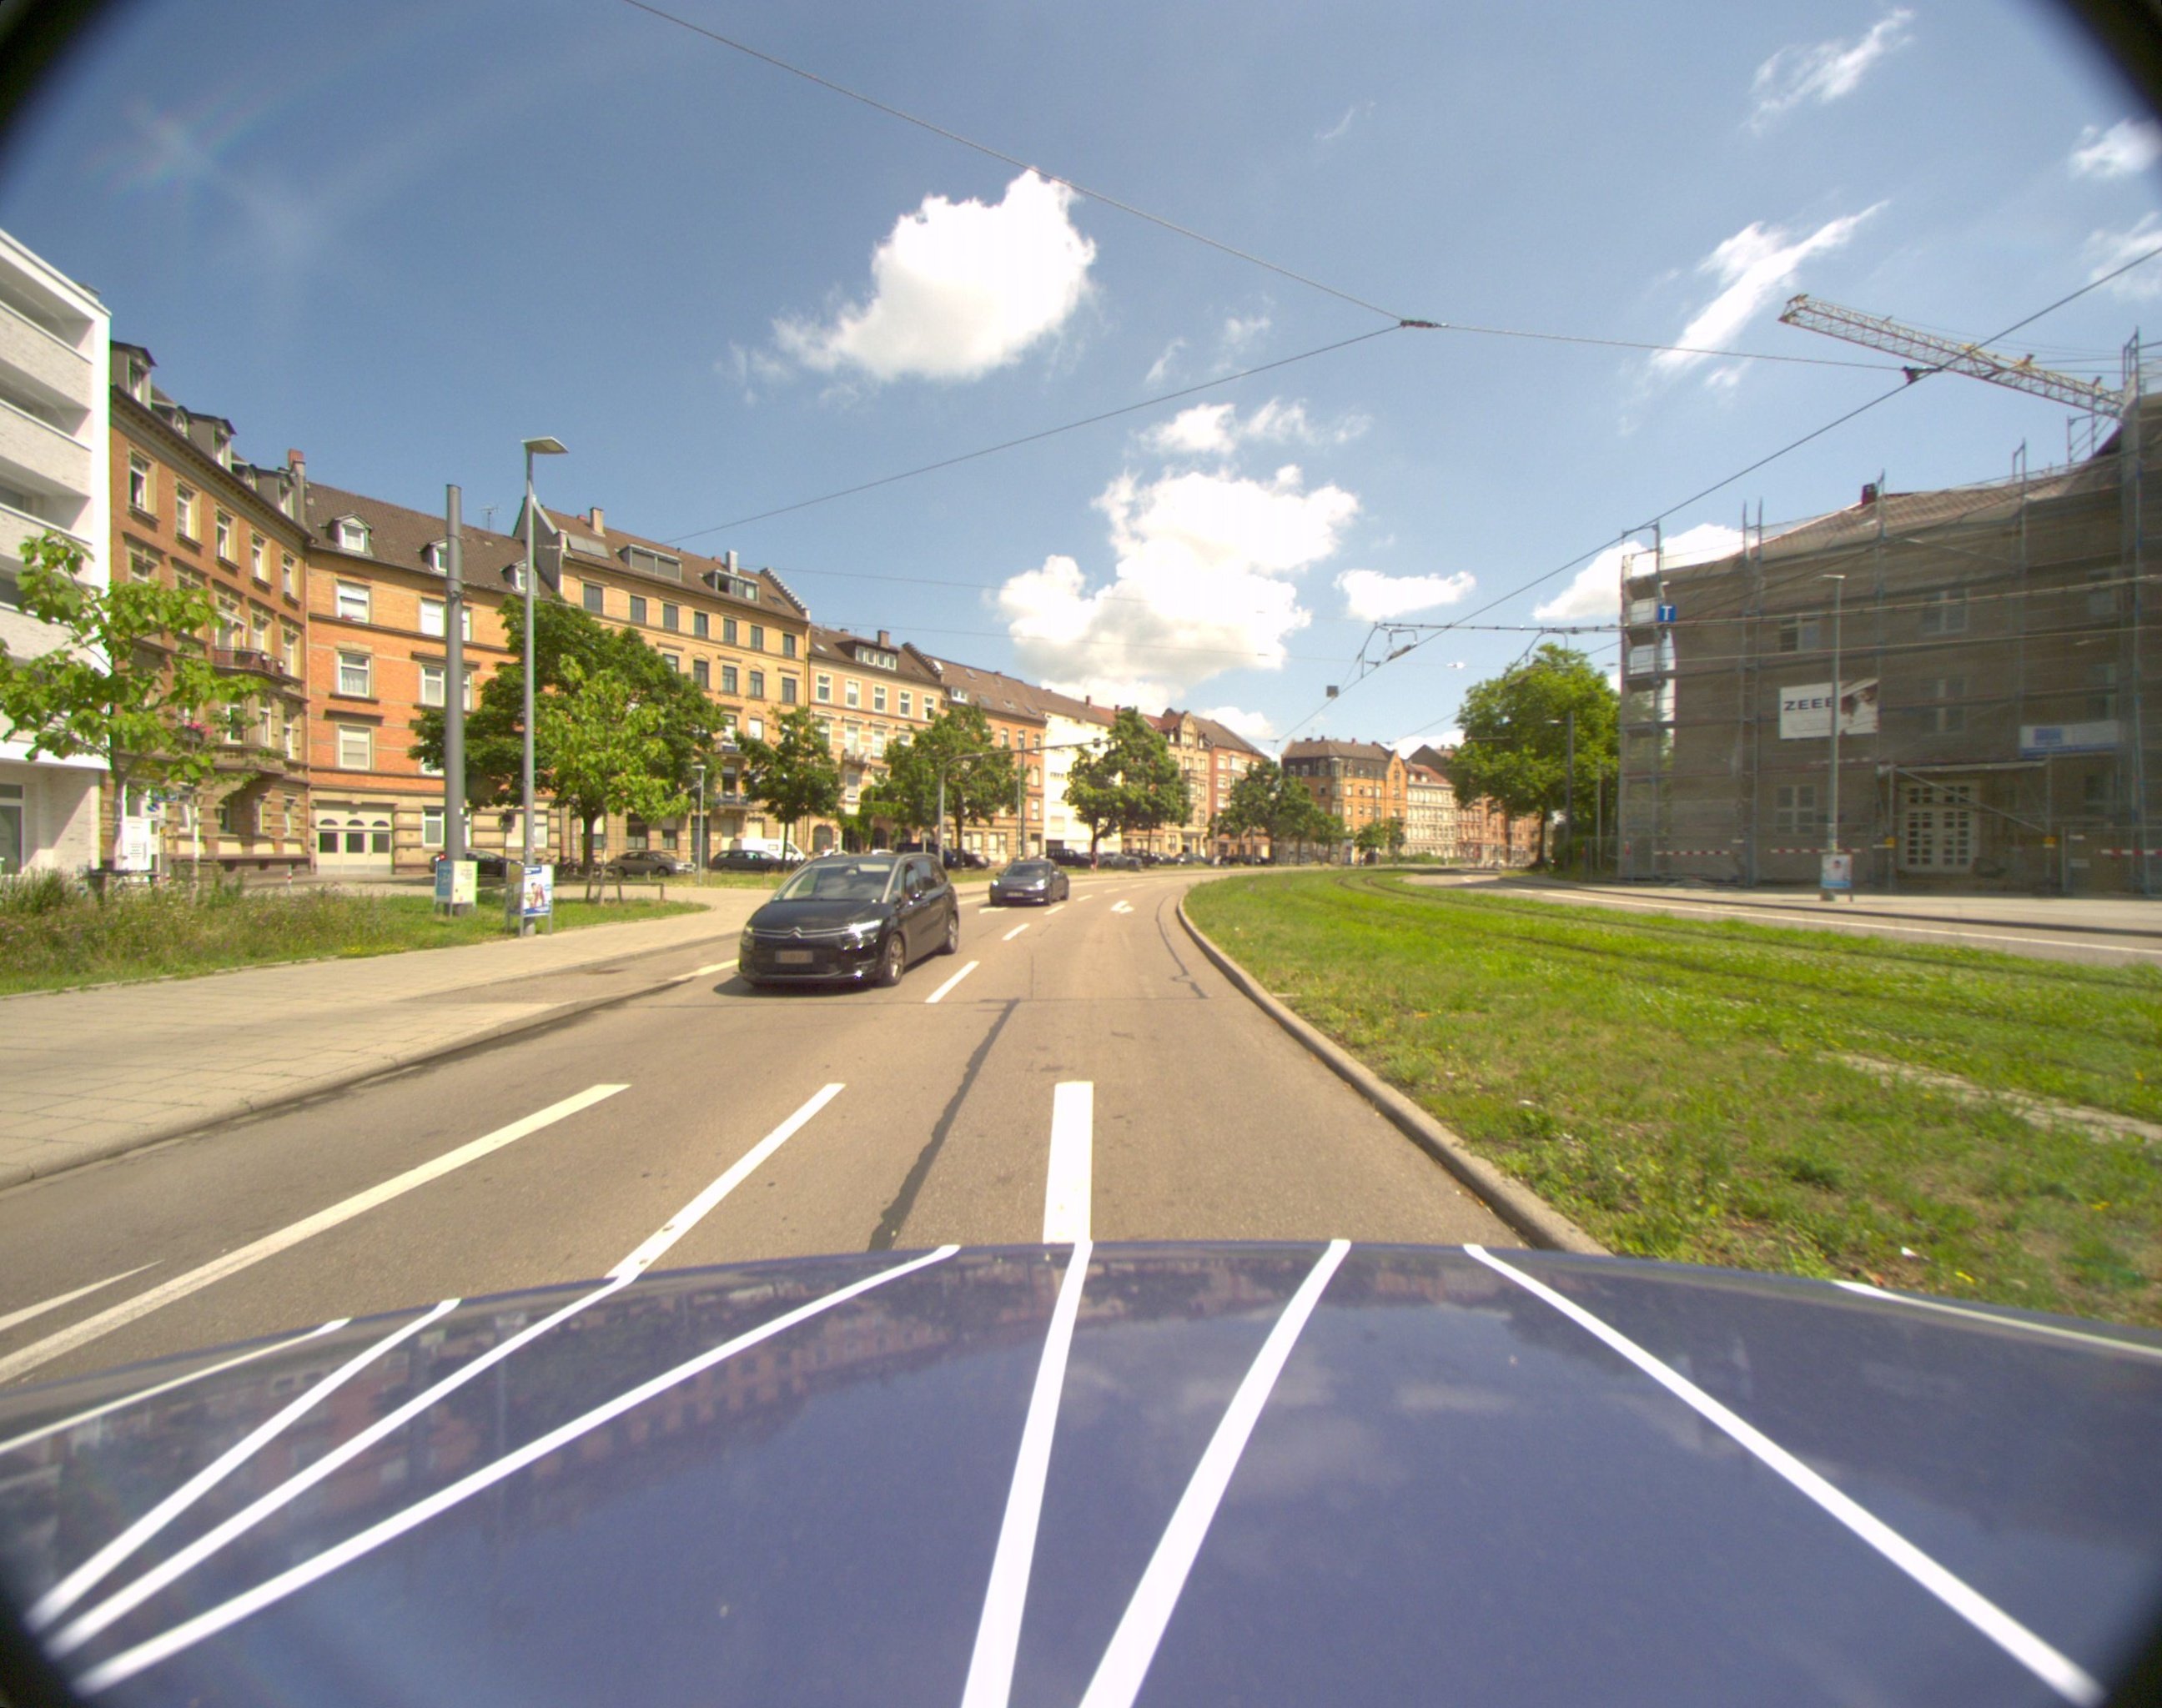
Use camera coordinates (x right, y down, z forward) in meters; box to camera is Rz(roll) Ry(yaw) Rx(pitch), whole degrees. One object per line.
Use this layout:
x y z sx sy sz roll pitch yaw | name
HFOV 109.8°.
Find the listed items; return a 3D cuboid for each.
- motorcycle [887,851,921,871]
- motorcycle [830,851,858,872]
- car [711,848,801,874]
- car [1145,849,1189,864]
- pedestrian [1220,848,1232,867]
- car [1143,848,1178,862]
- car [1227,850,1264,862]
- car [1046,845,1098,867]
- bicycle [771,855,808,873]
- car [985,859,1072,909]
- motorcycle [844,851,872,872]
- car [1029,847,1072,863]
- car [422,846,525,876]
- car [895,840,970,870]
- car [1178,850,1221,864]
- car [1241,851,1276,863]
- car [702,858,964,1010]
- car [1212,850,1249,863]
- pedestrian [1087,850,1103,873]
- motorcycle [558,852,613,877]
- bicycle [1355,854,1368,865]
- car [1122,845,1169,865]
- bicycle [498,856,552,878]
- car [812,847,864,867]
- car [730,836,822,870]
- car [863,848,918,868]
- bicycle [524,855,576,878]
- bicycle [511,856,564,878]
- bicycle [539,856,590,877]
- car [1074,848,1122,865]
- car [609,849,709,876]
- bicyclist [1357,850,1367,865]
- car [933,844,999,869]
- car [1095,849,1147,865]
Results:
-10.640 0.403 45.745 1.910 1.160 0.638 0 1 -38 | motorcycle
-13.514 0.437 43.353 1.783 1.160 0.641 0 1 38 | motorcycle
-17.980 0.366 42.080 4.252 1.419 1.807 0 0 10 | car
8.456 0.268 75.075 4.265 1.372 1.853 -1 0 3 | car
13.616 0.333 71.351 0.700 1.695 1.046 1 4 38 | pedestrian
9.464 0.140 90.083 1.833 1.606 4.505 -1 0 40 | car
18.988 0.253 88.036 3.995 1.372 1.963 -1 0 7 | car
-0.760 0.152 64.424 4.144 1.731 1.854 -1 0 9 | car
-15.329 0.504 39.985 0.542 0.896 1.825 -1 0 36 | bicycle
-1.575 0.898 24.460 1.913 1.386 4.316 -1 0 8 | car
-12.940 0.424 44.071 1.783 1.160 0.641 0 1 38 | motorcycle
-2.946 0.125 74.230 1.833 1.483 4.236 -1 0 40 | car
-31.069 0.342 38.953 1.659 1.483 3.861 -1 0 40 | car
-10.086 0.069 51.842 4.623 1.916 1.918 -1 0 9 | car
12.448 0.312 80.063 4.265 1.372 1.853 -1 0 3 | car
21.194 0.320 90.689 3.992 1.346 1.964 -1 0 17 | car
-3.036 0.892 10.383 1.875 1.610 4.190 -1 0 5 | car
16.893 0.271 85.650 3.993 1.372 1.963 -1 0 12 | car
0.993 0.499 53.301 0.700 1.583 0.907 1 1 39 | pedestrian
-23.508 0.487 36.054 2.387 1.119 0.814 -1 0 16 | motorcycle
34.323 0.718 92.847 0.693 1.236 1.843 8 4 43 | bicycle
6.101 0.096 71.962 4.361 1.731 1.853 -1 0 3 | car
-24.390 0.572 33.336 2.387 0.963 0.544 -1 0 16 | bicycle
-17.800 0.200 55.745 1.564 1.395 3.358 1 1 42 | car
-20.721 -0.092 51.809 2.111 2.166 5.405 -1 0 40 | car
-14.879 0.328 59.481 1.659 1.483 3.861 -1 0 40 | car
-24.071 0.568 34.453 2.387 0.963 0.544 -1 0 16 | bicycle
-24.240 0.570 33.890 2.387 0.963 0.544 -1 0 16 | bicycle
-23.872 0.572 35.122 2.387 0.950 0.544 -1 0 16 | bicycle
1.501 0.258 66.612 4.081 1.397 1.853 -1 0 4 | car
-20.834 0.413 37.546 4.156 1.237 1.865 -1 0 15 | car
34.301 0.450 92.792 0.694 1.815 0.958 8 5 43 | bicyclist
-8.193 0.174 54.230 4.167 1.646 1.918 -1 0 13 | car
3.651 0.290 69.035 4.688 1.372 1.853 -1 0 5 | car
